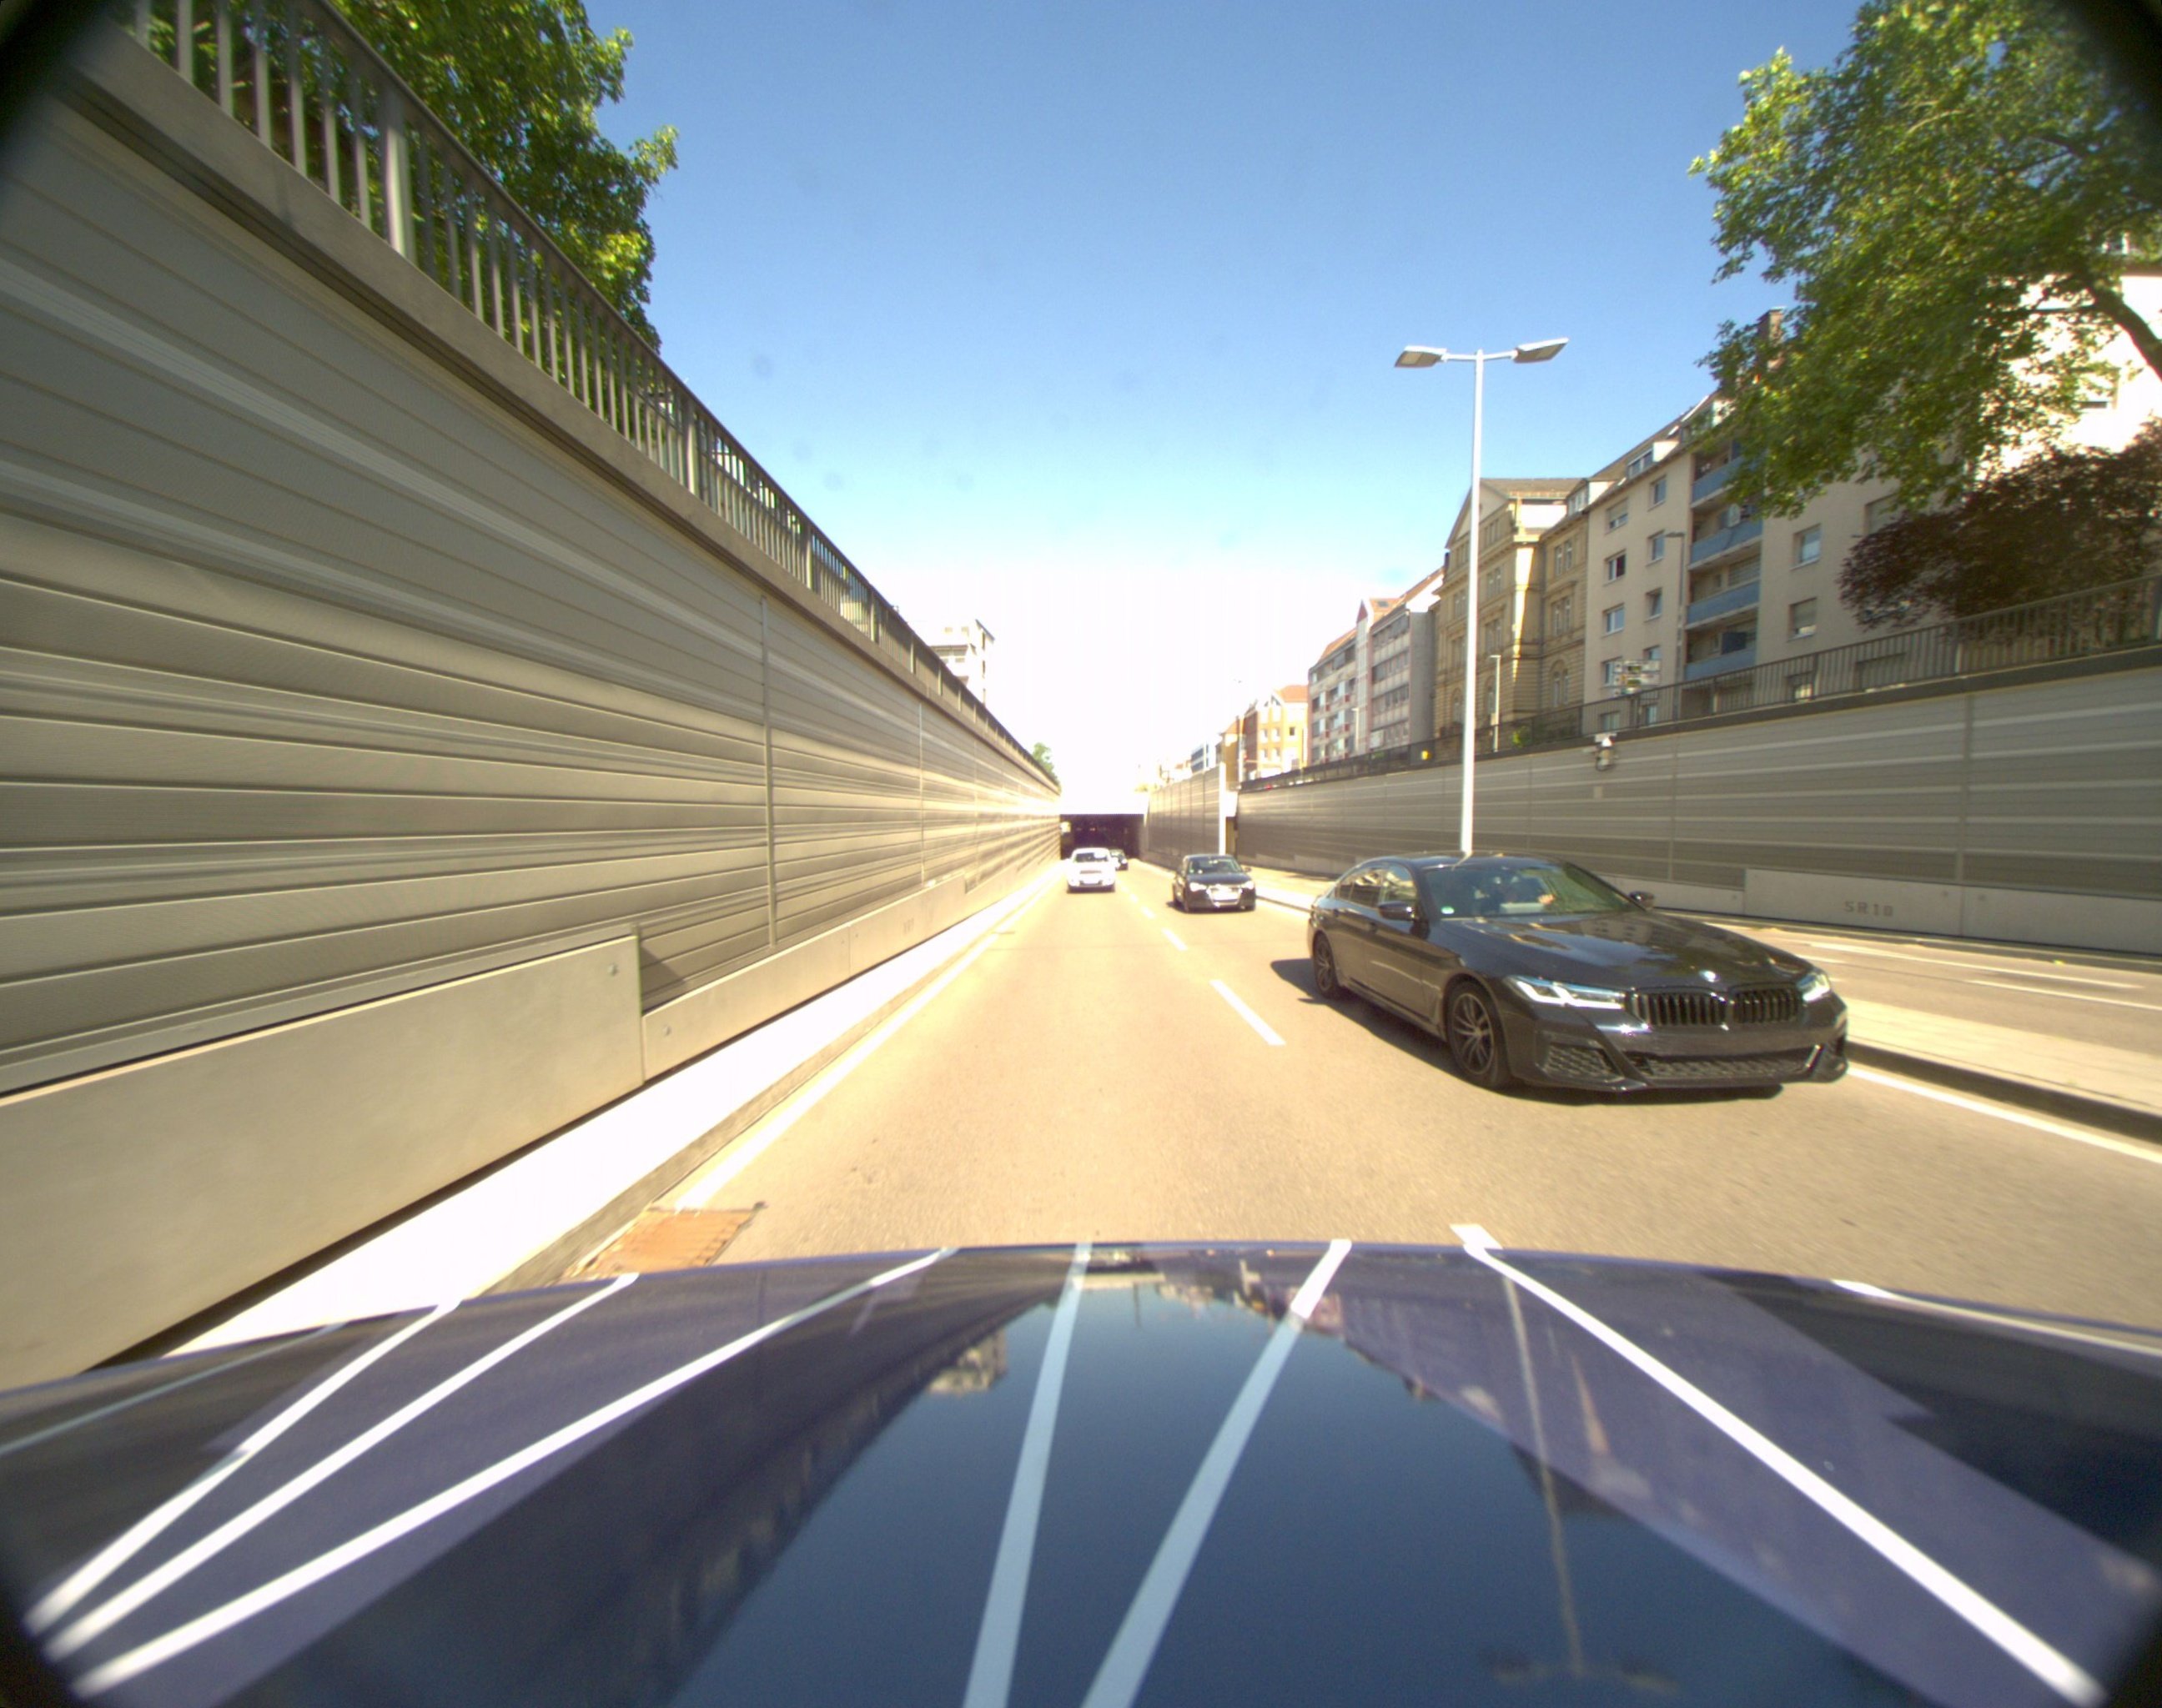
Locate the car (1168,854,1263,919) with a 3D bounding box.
[{"bbox_3d":[3.315,0.746,19.405,1.700,1.410,3.888,-2,1,0],"label":"car"}]

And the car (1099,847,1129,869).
[{"bbox_3d":[2.353,0.244,54.464,1.998,1.408,3.999,-2,1,1],"label":"car"}]

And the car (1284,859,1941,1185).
[{"bbox_3d":[3.230,0.829,6.155,1.813,1.431,5.001,-2,1,0],"label":"car"}]

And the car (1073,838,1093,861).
[{"bbox_3d":[0.187,-0.462,72.283,1.785,2.003,3.907,-2,3,0],"label":"car"}]

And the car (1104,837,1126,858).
[{"bbox_3d":[3.616,-0.679,80.599,1.999,2.003,3.998,-2,3,-1],"label":"car"}]

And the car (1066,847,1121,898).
[{"bbox_3d":[0.472,0.633,28.641,1.855,1.658,3.969,-2,1,1],"label":"car"}]
